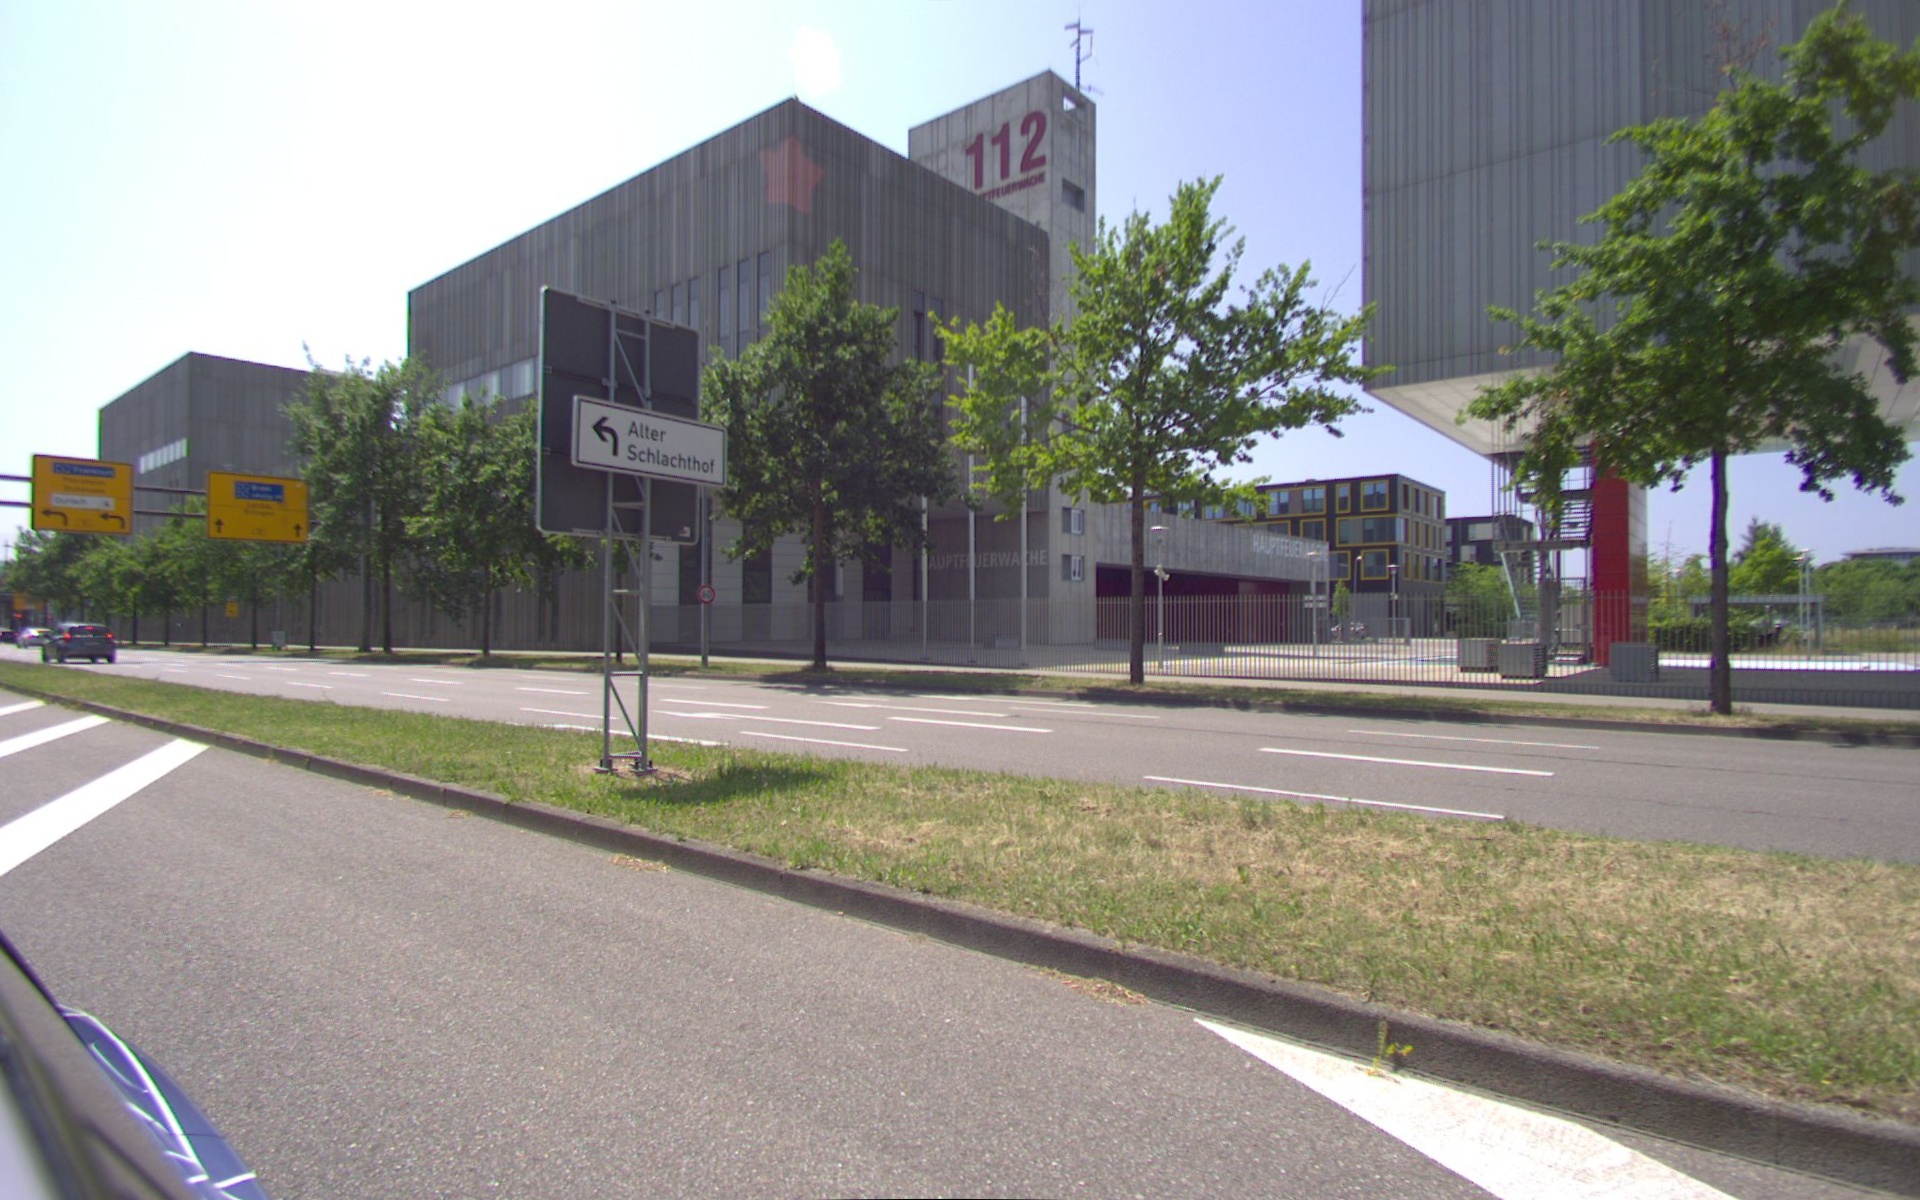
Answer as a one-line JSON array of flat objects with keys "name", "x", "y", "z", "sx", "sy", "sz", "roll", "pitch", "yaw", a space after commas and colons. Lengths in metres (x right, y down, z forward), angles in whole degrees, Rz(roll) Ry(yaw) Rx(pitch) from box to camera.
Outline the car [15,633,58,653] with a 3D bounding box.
[{"name": "car", "x": -67.294, "y": 3.129, "z": 73.737, "sx": 4.356, "sy": 1.438, "sz": 1.791, "roll": -2, "pitch": -3, "yaw": 41}]

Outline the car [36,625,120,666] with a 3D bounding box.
[{"name": "car", "x": -33.640, "y": 1.728, "z": 38.577, "sx": 3.936, "sy": 1.483, "sz": 1.691, "roll": -2, "pitch": -3, "yaw": 38}]

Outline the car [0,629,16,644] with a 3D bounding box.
[{"name": "car", "x": -96.749, "y": 3.714, "z": 102.238, "sx": 4.014, "sy": 1.467, "sz": 1.604, "roll": -1, "pitch": -2, "yaw": 41}]

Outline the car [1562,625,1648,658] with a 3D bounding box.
[{"name": "car", "x": 35.280, "y": 2.240, "z": 55.401, "sx": 3.773, "sy": 1.709, "sz": 1.639, "roll": -1, "pitch": -2, "yaw": 41}]
